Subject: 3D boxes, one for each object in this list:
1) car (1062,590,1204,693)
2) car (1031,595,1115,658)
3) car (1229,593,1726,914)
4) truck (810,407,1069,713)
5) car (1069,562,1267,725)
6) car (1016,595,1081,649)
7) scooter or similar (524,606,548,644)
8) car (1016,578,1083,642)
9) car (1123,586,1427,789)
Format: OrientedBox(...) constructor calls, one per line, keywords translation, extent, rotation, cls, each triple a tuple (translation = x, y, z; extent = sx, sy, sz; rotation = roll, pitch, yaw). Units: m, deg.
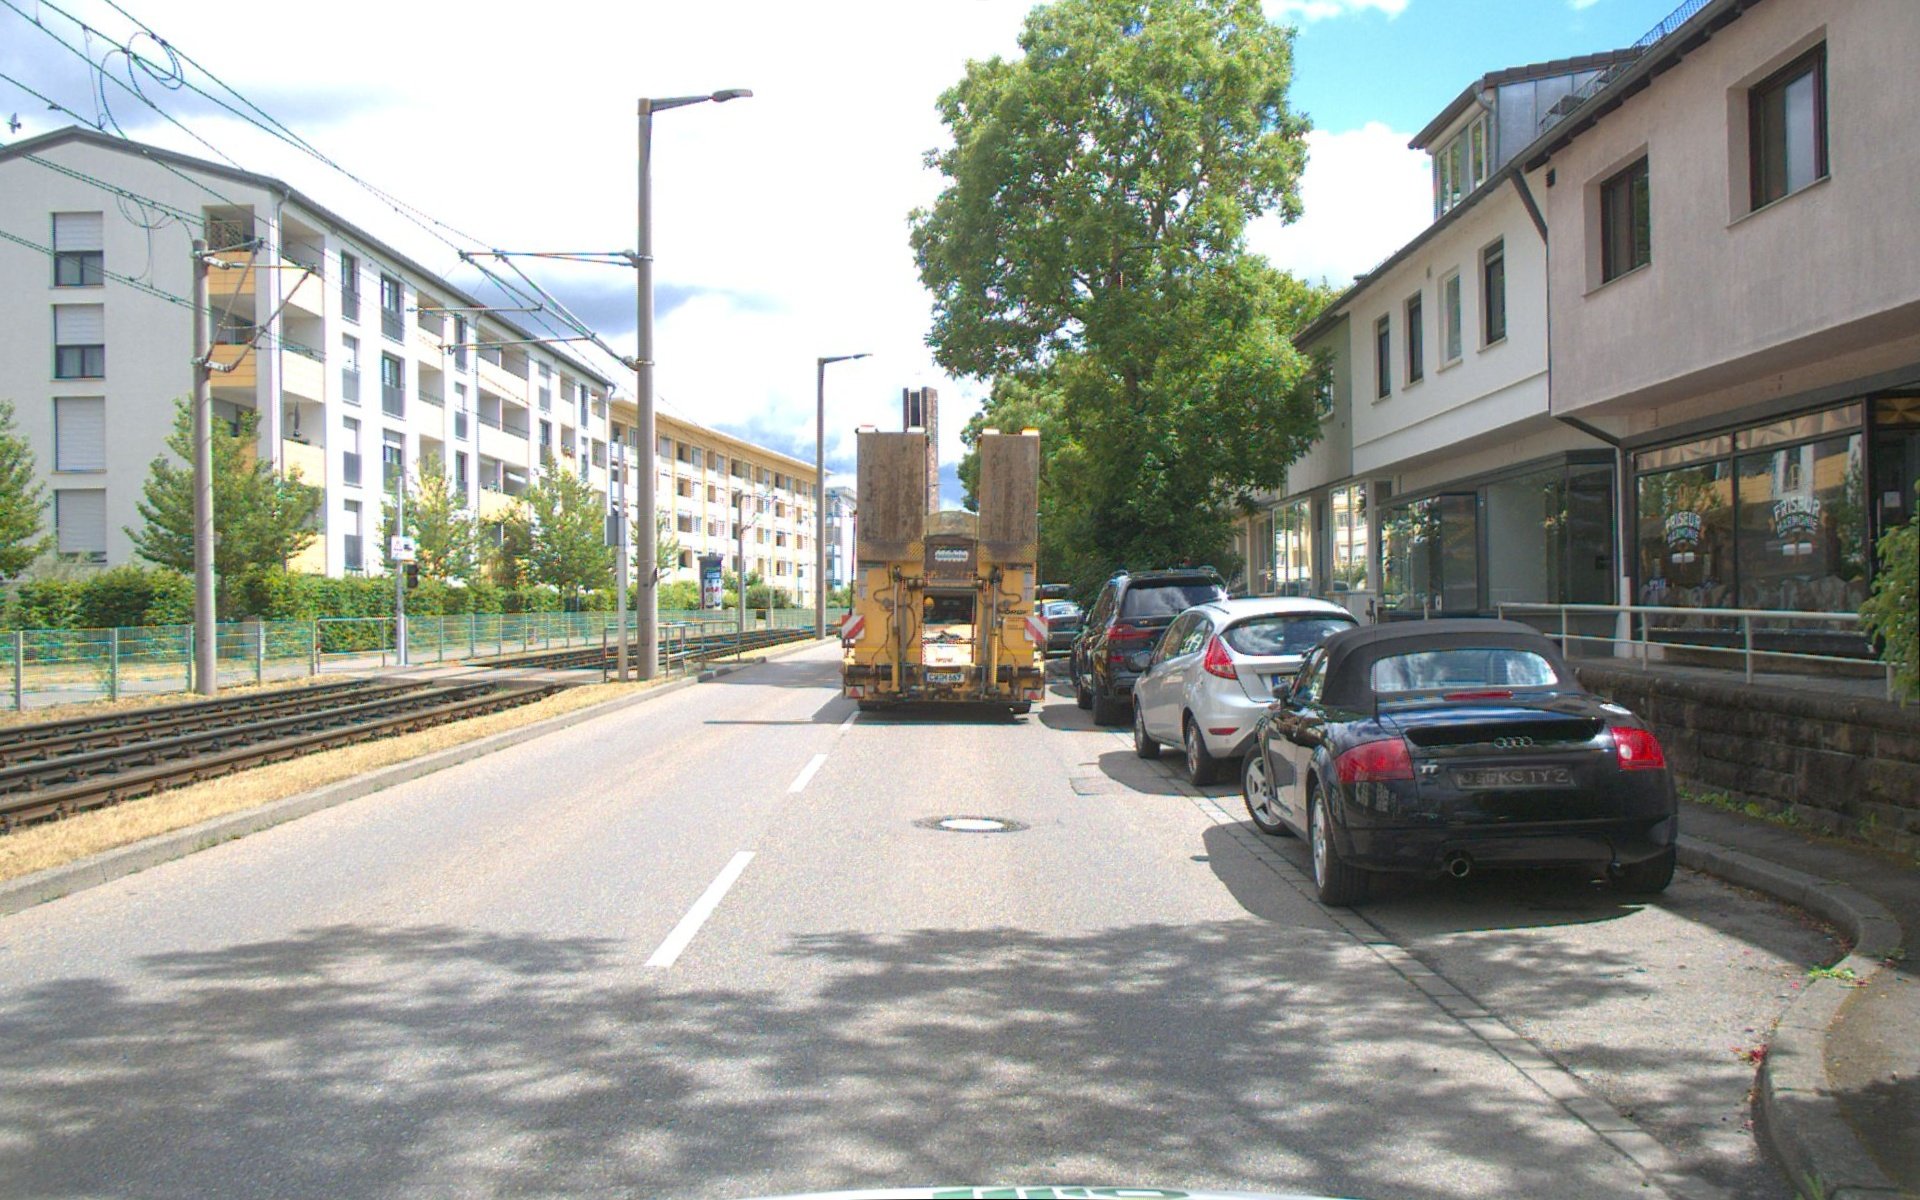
OrientedBox(translation=(2.799, 0.644, 27.573), extent=(1.797, 1.532, 4.241), rotation=(-1, 0, -1), cls="car")
OrientedBox(translation=(2.835, 0.641, 42.230), extent=(1.719, 1.467, 4.492), rotation=(-1, 0, -1), cls="car")
OrientedBox(translation=(2.674, 0.698, 9.525), extent=(1.734, 1.373, 4.002), rotation=(-3, 0, 3), cls="car")
OrientedBox(translation=(-0.336, -0.486, 25.922), extent=(3.060, 3.627, 12.457), rotation=(0, 0, -1), cls="truck")
OrientedBox(translation=(2.552, 0.496, 21.483), extent=(1.974, 1.820, 5.076), rotation=(-1, 0, 1), cls="car")
OrientedBox(translation=(2.597, 0.632, 49.405), extent=(1.719, 1.467, 4.341), rotation=(-2, 0, 0), cls="car")
OrientedBox(translation=(-14.625, 0.858, 57.073), extent=(0.480, 1.315, 1.302), rotation=(0, 0, 1), cls="scooter or similar")
OrientedBox(translation=(2.960, 0.335, 55.533), extent=(1.875, 1.993, 5.744), rotation=(-1, 0, 0), cls="car")
OrientedBox(translation=(2.625, 0.679, 14.687), extent=(1.736, 1.467, 3.897), rotation=(-3, 0, -3), cls="car")
